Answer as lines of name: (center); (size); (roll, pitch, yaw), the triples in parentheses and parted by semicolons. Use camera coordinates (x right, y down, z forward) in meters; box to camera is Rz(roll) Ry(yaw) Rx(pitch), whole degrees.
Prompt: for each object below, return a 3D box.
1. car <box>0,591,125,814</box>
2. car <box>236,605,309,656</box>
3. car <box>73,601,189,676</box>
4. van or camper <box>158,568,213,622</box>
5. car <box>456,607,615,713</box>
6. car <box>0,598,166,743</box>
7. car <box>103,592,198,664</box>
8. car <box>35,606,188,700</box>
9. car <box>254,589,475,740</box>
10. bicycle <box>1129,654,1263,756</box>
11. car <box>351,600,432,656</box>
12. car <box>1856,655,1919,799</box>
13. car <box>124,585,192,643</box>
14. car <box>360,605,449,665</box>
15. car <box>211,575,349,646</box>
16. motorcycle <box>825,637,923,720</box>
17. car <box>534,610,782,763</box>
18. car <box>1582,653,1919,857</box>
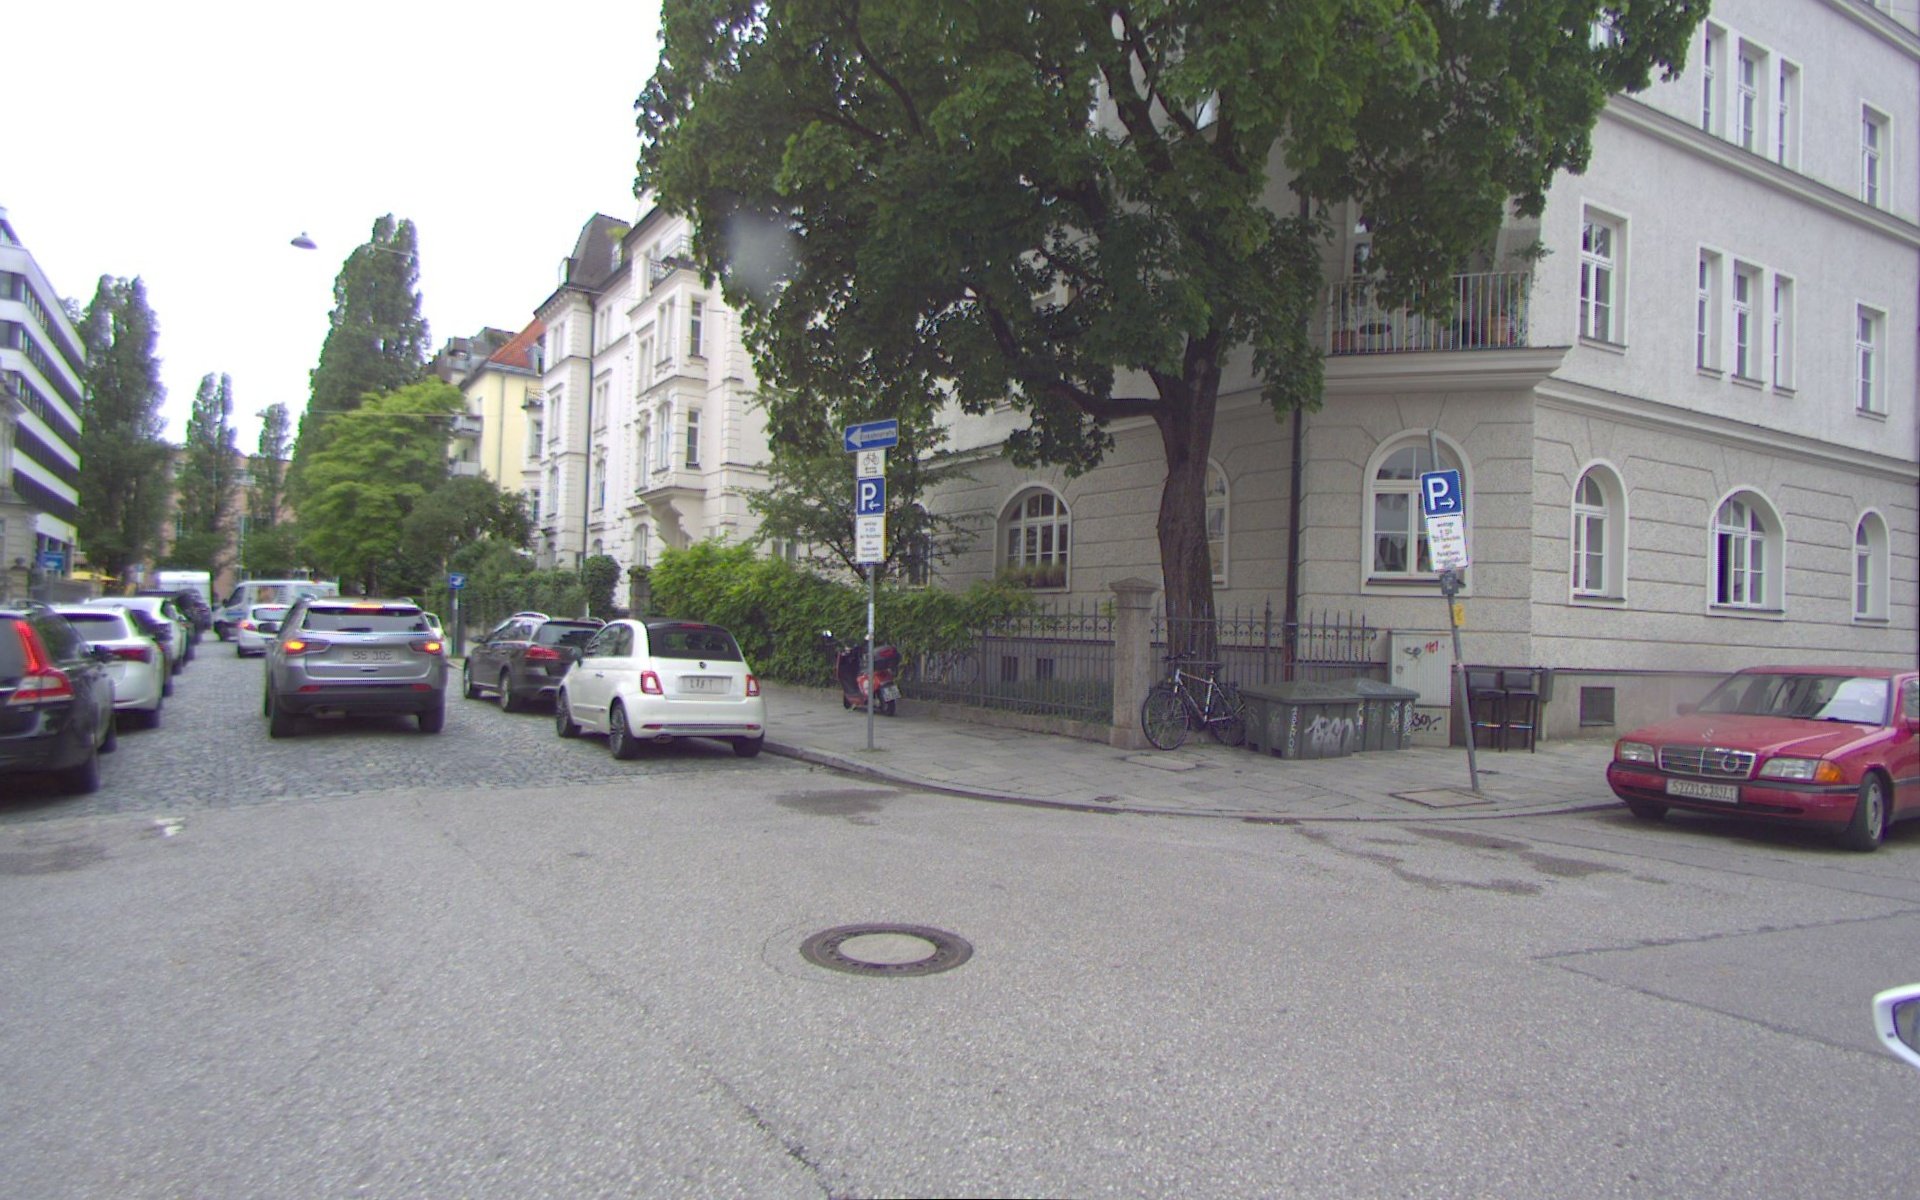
car: (-8.326, 0.715, 8.403); (1.886, 1.536, 4.300); (-2, 2, -38)
car: (-19.609, 0.861, 28.616); (1.591, 1.348, 2.922); (3, -2, -36)
car: (-17.628, 0.780, 21.499); (1.605, 1.461, 3.959); (3, -2, -36)
van or camper: (-45.709, -0.269, 59.367); (2.406, 2.973, 5.315); (3, -2, -37)
car: (-7.054, 0.901, 16.487); (1.635, 1.492, 3.962); (3, -2, -34)
car: (-11.046, 0.750, 12.621); (1.669, 1.528, 4.216); (0, 0, -39)
car: (-20.507, 0.687, 25.582); (1.693, 1.669, 3.957); (3, -2, -37)
car: (-13.909, 0.819, 16.648); (1.578, 1.359, 3.775); (3, -2, -36)
car: (-7.882, 0.747, 13.099); (1.946, 1.629, 4.262); (3, -2, -37)
bicycle: (2.830, 1.210, 11.955); (1.809, 1.066, 0.490); (0, 0, -36)
car: (-18.322, 0.867, 32.298); (1.693, 1.669, 3.957); (3, -2, -37)
car: (12.069, 1.430, 11.275); (4.174, 1.493, 1.982); (3, -2, -33)
car: (-28.169, 0.492, 35.370); (1.693, 1.884, 3.957); (3, -2, -37)
car: (-15.729, 0.969, 28.362); (1.672, 1.554, 3.830); (3, -2, -36)
car: (-25.666, 0.390, 37.912); (4.515, 2.508, 2.162); (1, -1, 24)
motorcycle: (-1.332, 1.156, 15.230); (0.586, 1.126, 1.971); (2, -1, -34)
car: (-3.770, 0.907, 12.063); (1.669, 1.468, 3.961); (3, -1, -35)
car: (7.639, 1.240, 9.001); (4.176, 1.396, 1.723); (3, -2, -29)
